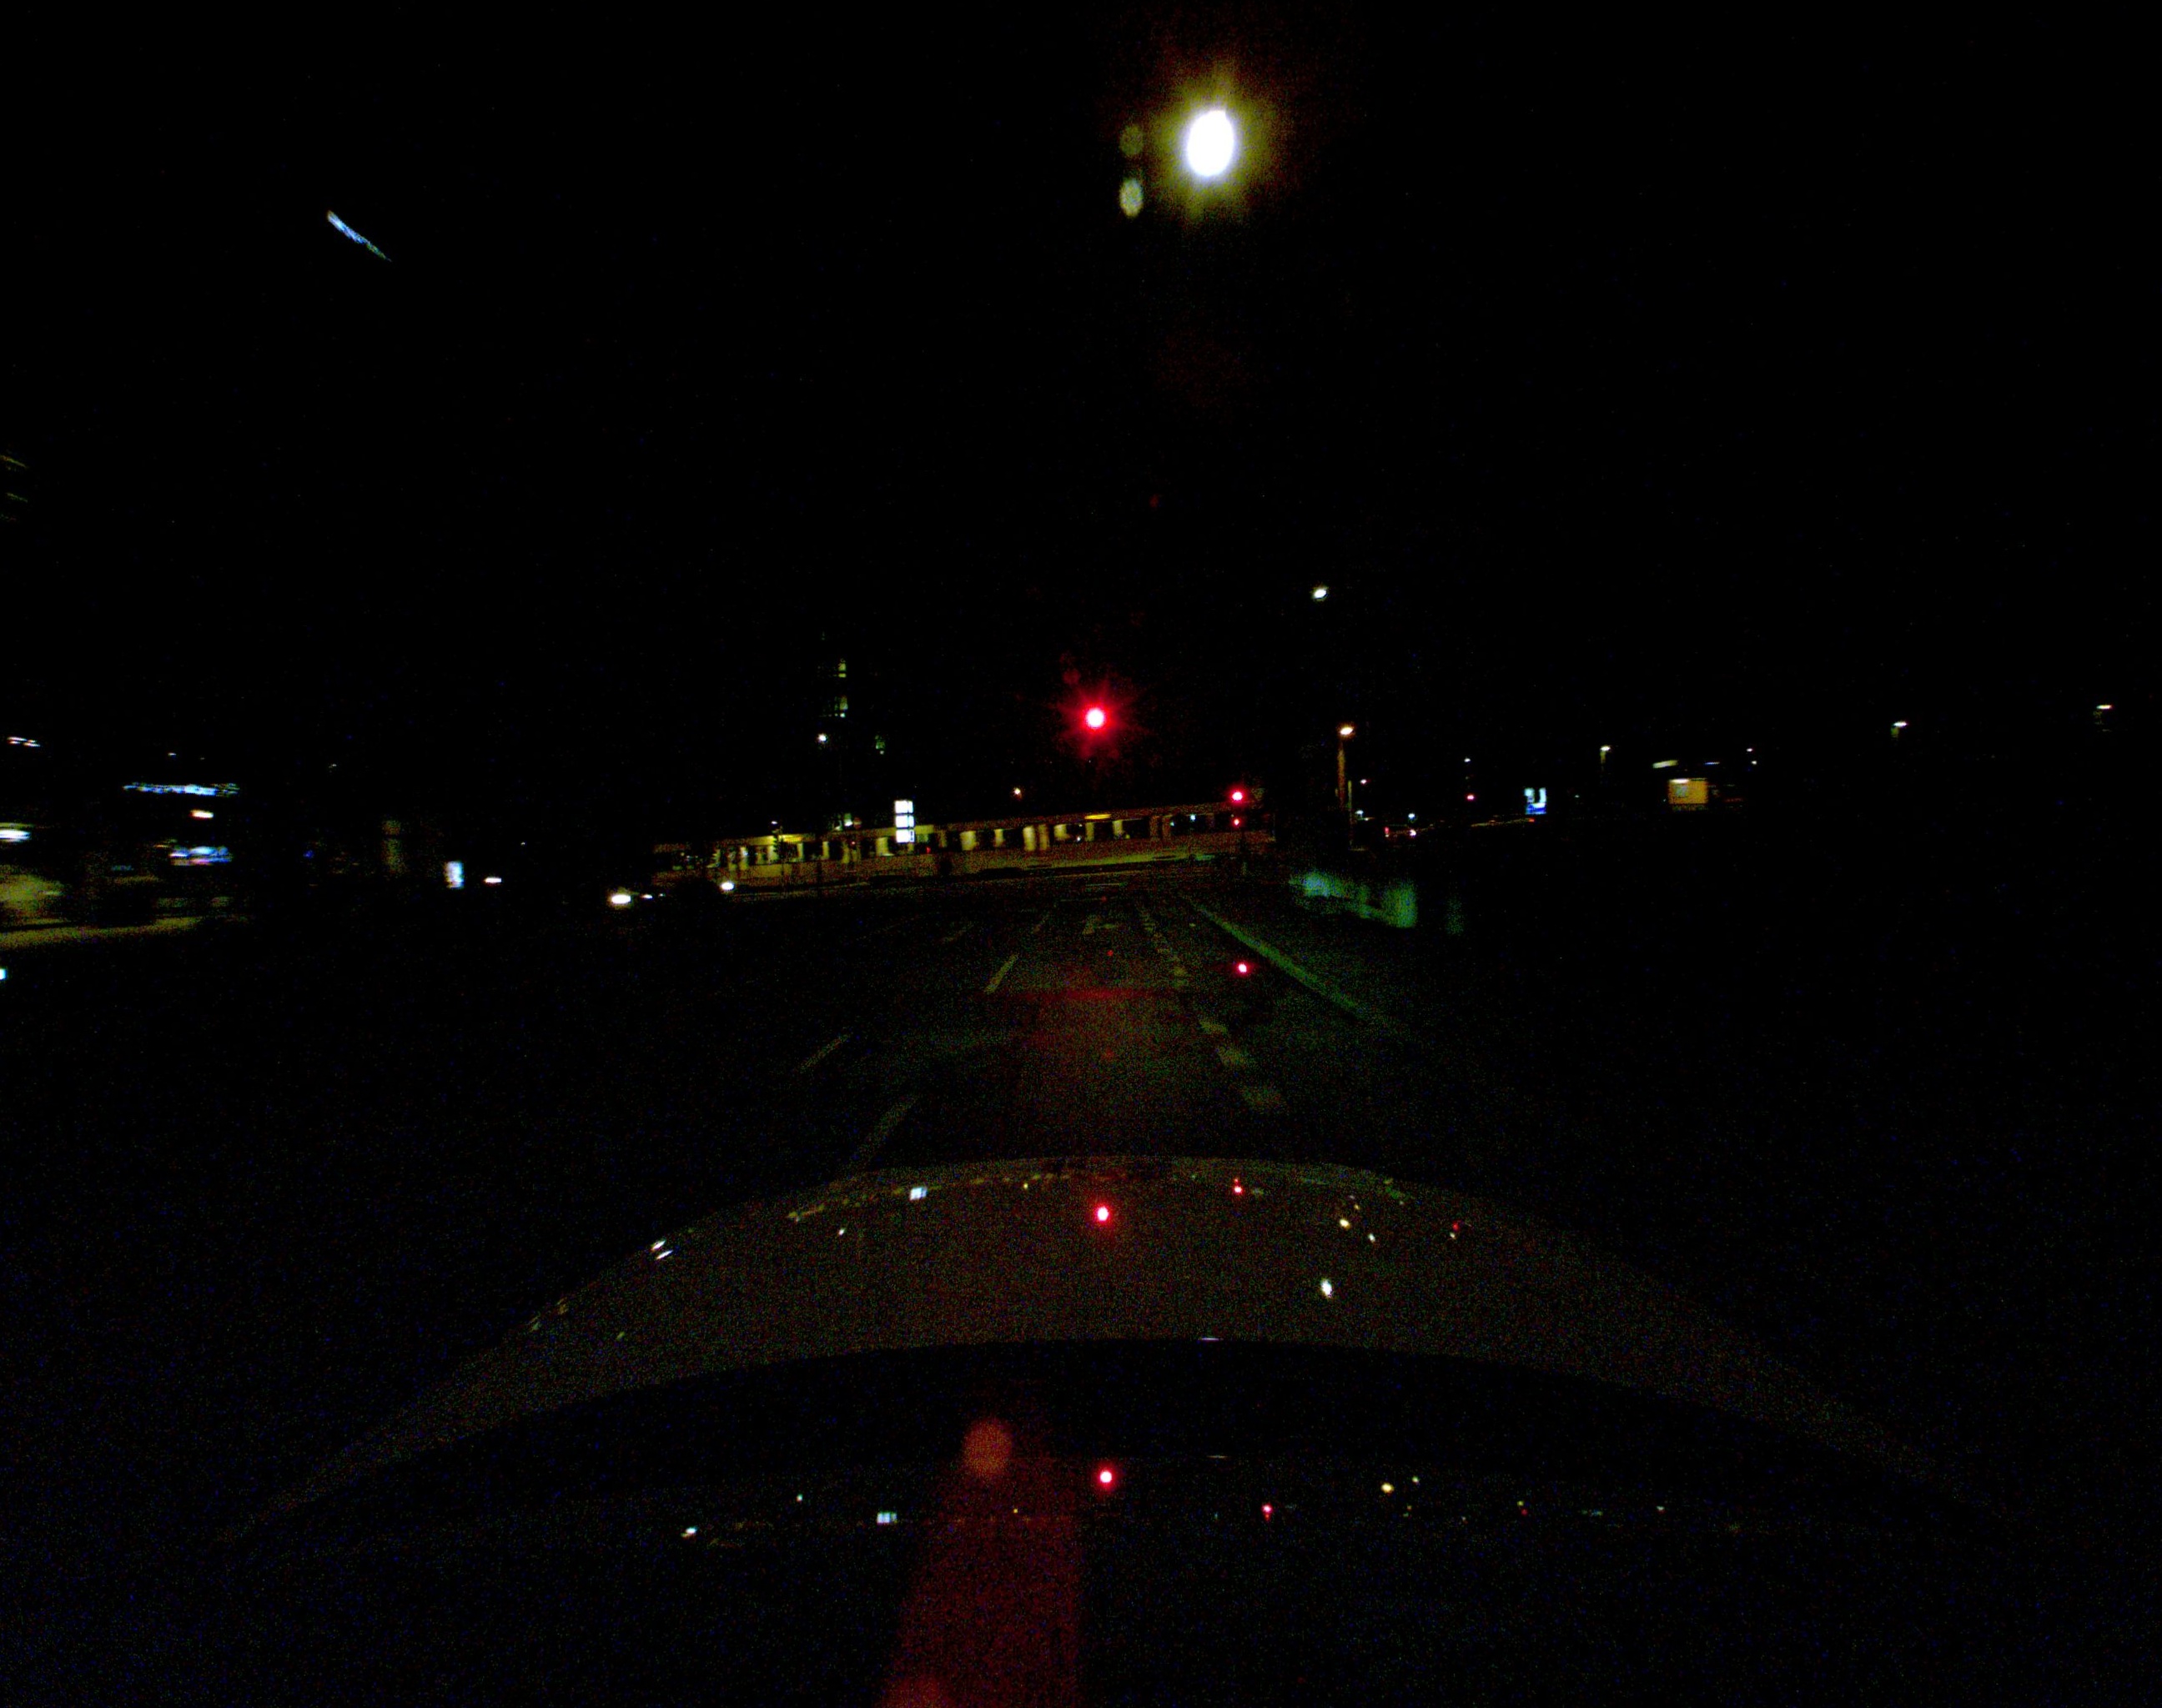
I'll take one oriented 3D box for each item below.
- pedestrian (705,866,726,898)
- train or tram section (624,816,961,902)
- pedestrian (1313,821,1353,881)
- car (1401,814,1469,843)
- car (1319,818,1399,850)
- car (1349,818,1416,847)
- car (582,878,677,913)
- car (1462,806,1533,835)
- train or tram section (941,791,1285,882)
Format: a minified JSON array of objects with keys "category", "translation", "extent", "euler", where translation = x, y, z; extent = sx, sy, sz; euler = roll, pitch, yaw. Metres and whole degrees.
[{"category":"pedestrian","translation":[-20.806,1.607,46.402],"extent":[0.761,1.737,0.660],"euler":[-4,1,2]},{"category":"train or tram section","translation":[-17.398,0.311,49.317],"extent":[19.687,3.861,2.946],"euler":[-4,0,7]},{"category":"pedestrian","translation":[7.596,-0.095,24.561],"extent":[0.895,1.712,0.776],"euler":[-5,-1,7]},{"category":"car","translation":[23.445,-1.706,54.053],"extent":[3.742,1.527,1.764],"euler":[-5,0,10]},{"category":"car","translation":[18.263,-1.315,53.711],"extent":[4.589,1.640,2.004],"euler":[-5,0,7]},{"category":"car","translation":[21.087,-1.520,57.139],"extent":[4.033,1.615,1.874],"euler":[-5,0,10]},{"category":"car","translation":[-22.791,2.085,41.161],"extent":[3.741,1.480,1.914],"euler":[-3,0,8]},{"category":"car","translation":[29.109,-2.335,56.998],"extent":[3.961,1.573,1.892],"euler":[-6,0,12]},{"category":"train or tram section","translation":[1.754,-0.937,47.085],"extent":[19.071,3.823,2.929],"euler":[-4,0,7]}]
